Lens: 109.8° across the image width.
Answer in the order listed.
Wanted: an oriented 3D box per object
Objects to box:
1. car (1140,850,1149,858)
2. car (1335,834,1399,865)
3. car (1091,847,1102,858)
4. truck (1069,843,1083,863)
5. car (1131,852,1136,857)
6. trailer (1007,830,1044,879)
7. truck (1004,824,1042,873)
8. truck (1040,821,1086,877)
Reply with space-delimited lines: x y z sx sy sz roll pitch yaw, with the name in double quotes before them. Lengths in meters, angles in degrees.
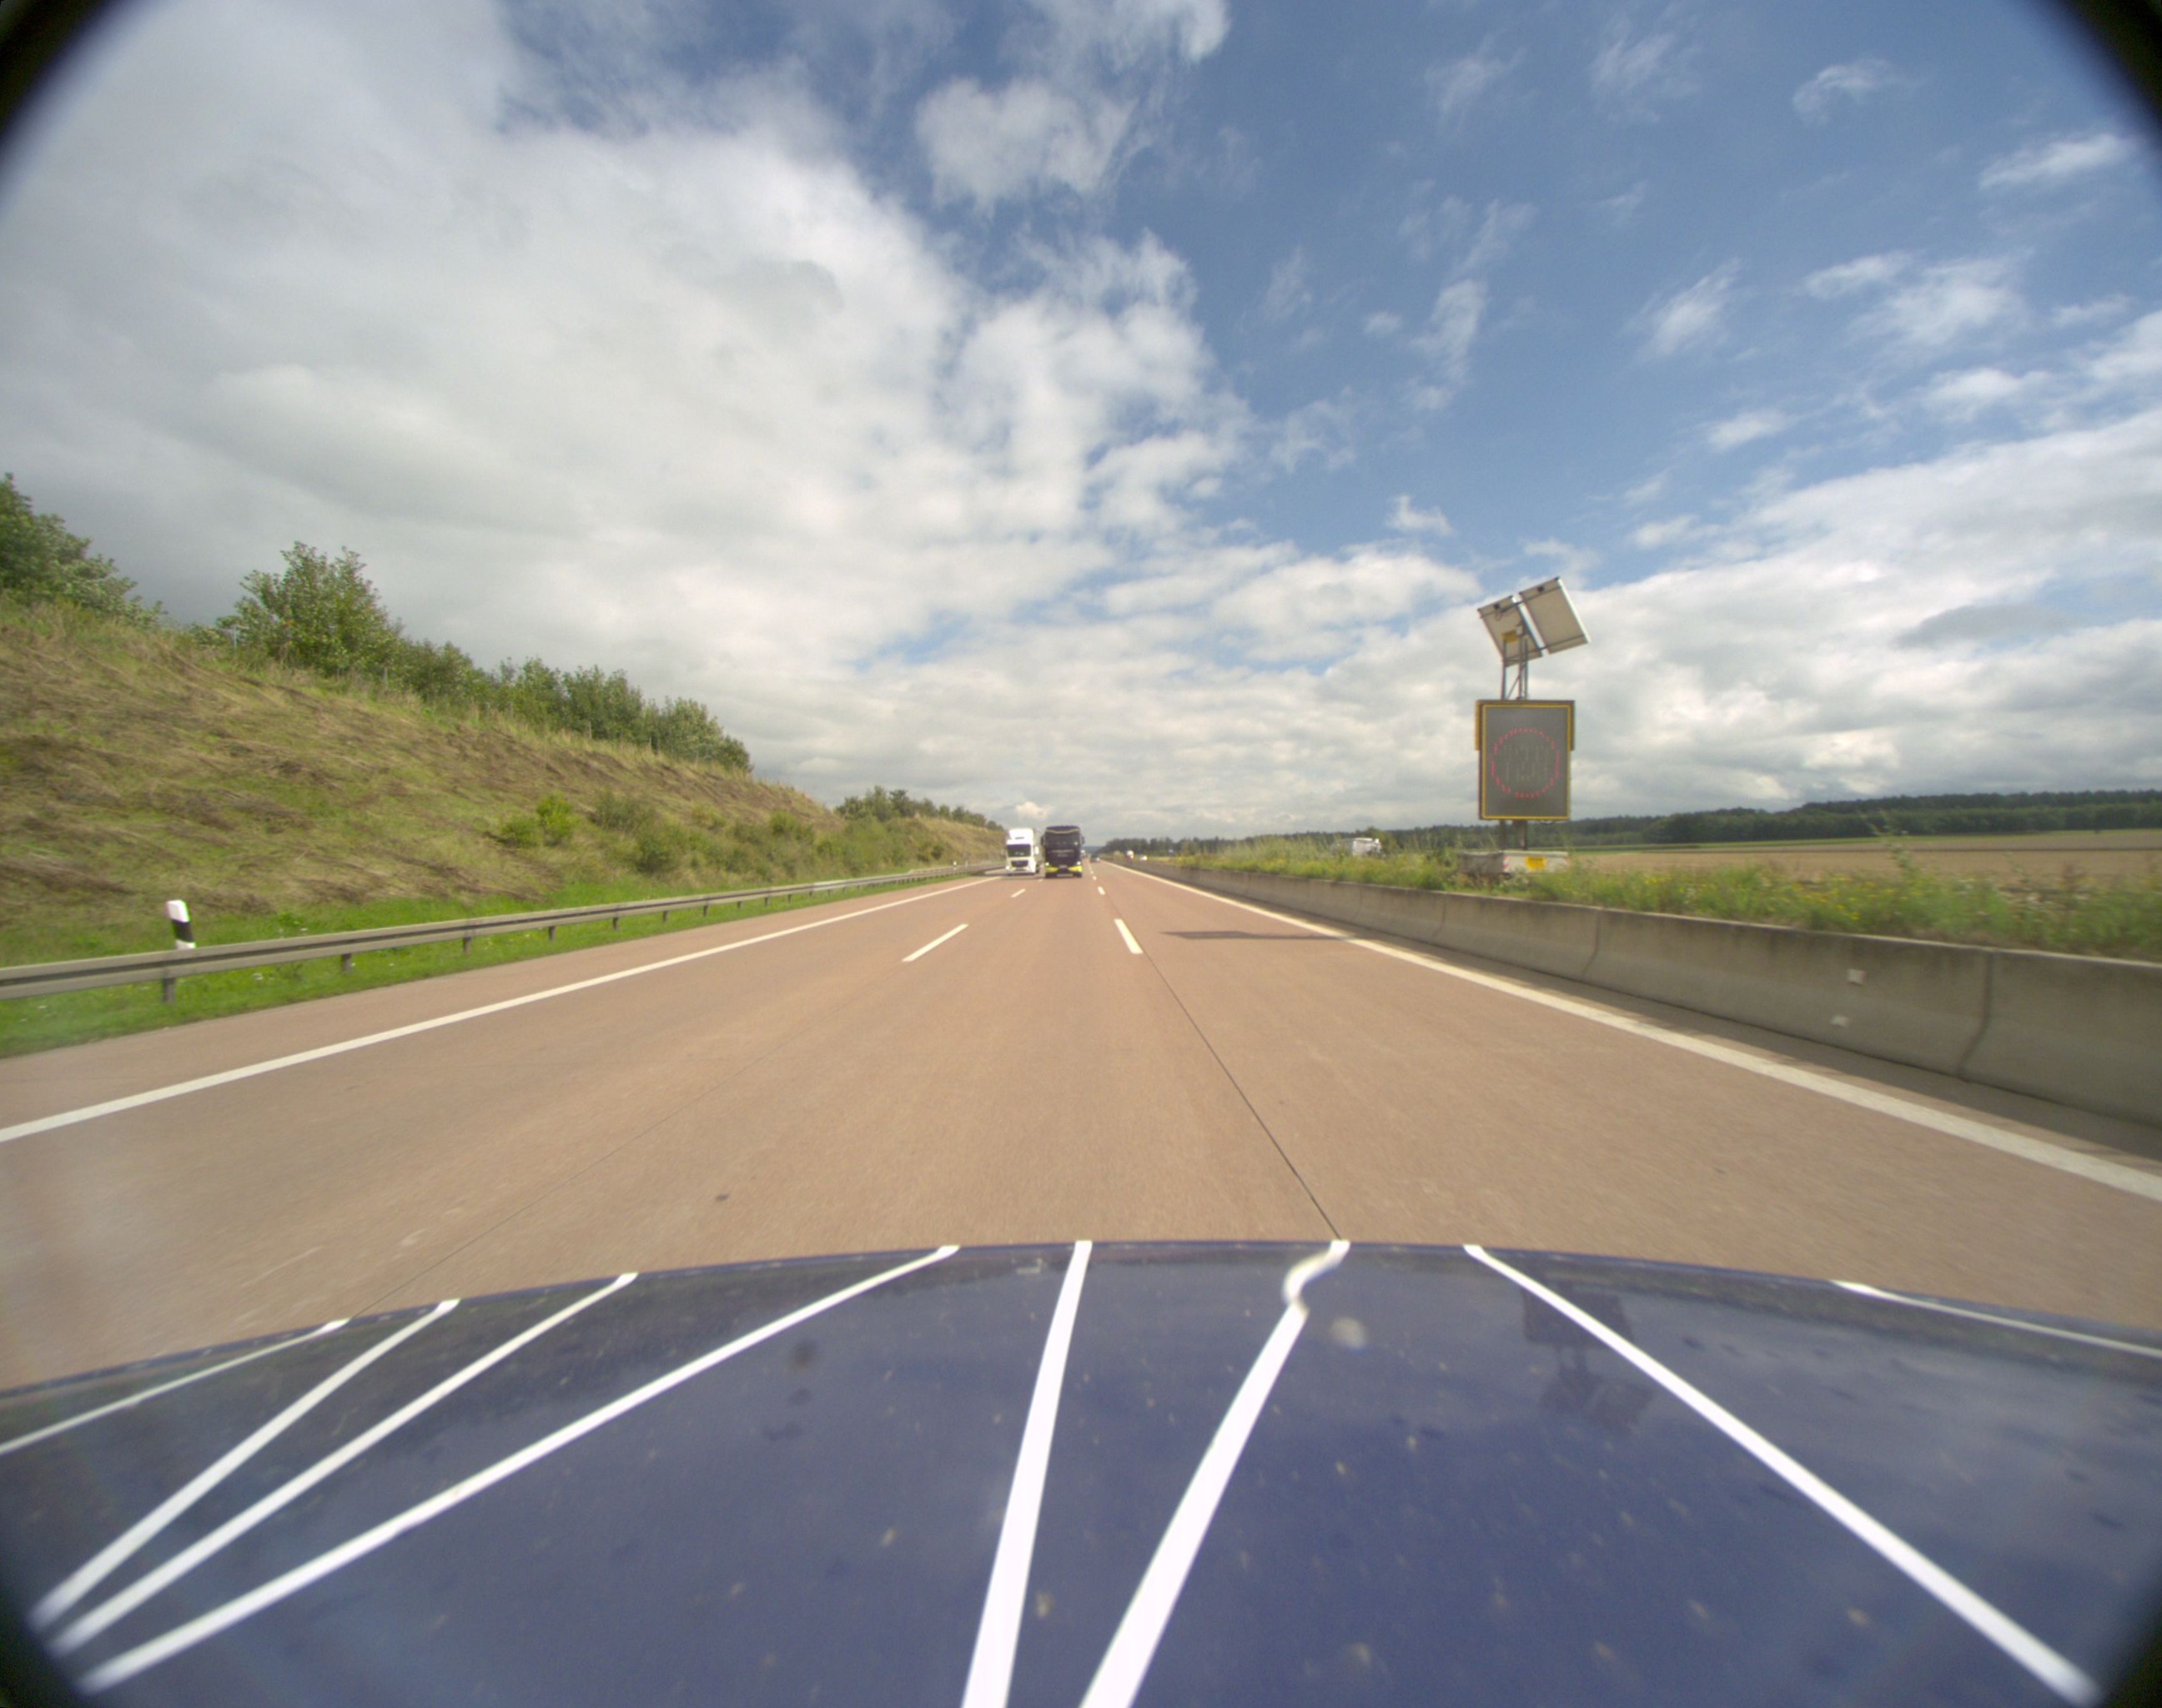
"car" 16.089 -0.023 191.992 1.998 2.058 4.711 0 0 2
"car" 18.207 -0.272 48.709 2.062 1.901 5.703 0 0 1
"car" 3.099 -0.264 151.466 2.149 2.002 4.248 -3 0 0
"truck" -1.027 -0.152 171.603 2.681 4.333 11.808 -3 0 0
"car" 17.073 0.138 246.396 1.402 1.384 3.234 -3 0 1
"trailer" -4.885 -0.005 68.204 2.755 3.989 8.668 -2 1 -1
"truck" -4.801 -0.469 63.575 2.756 3.869 4.544 -2 1 -1
"truck" -1.216 -0.372 53.596 2.855 3.529 8.317 -2 1 -1
